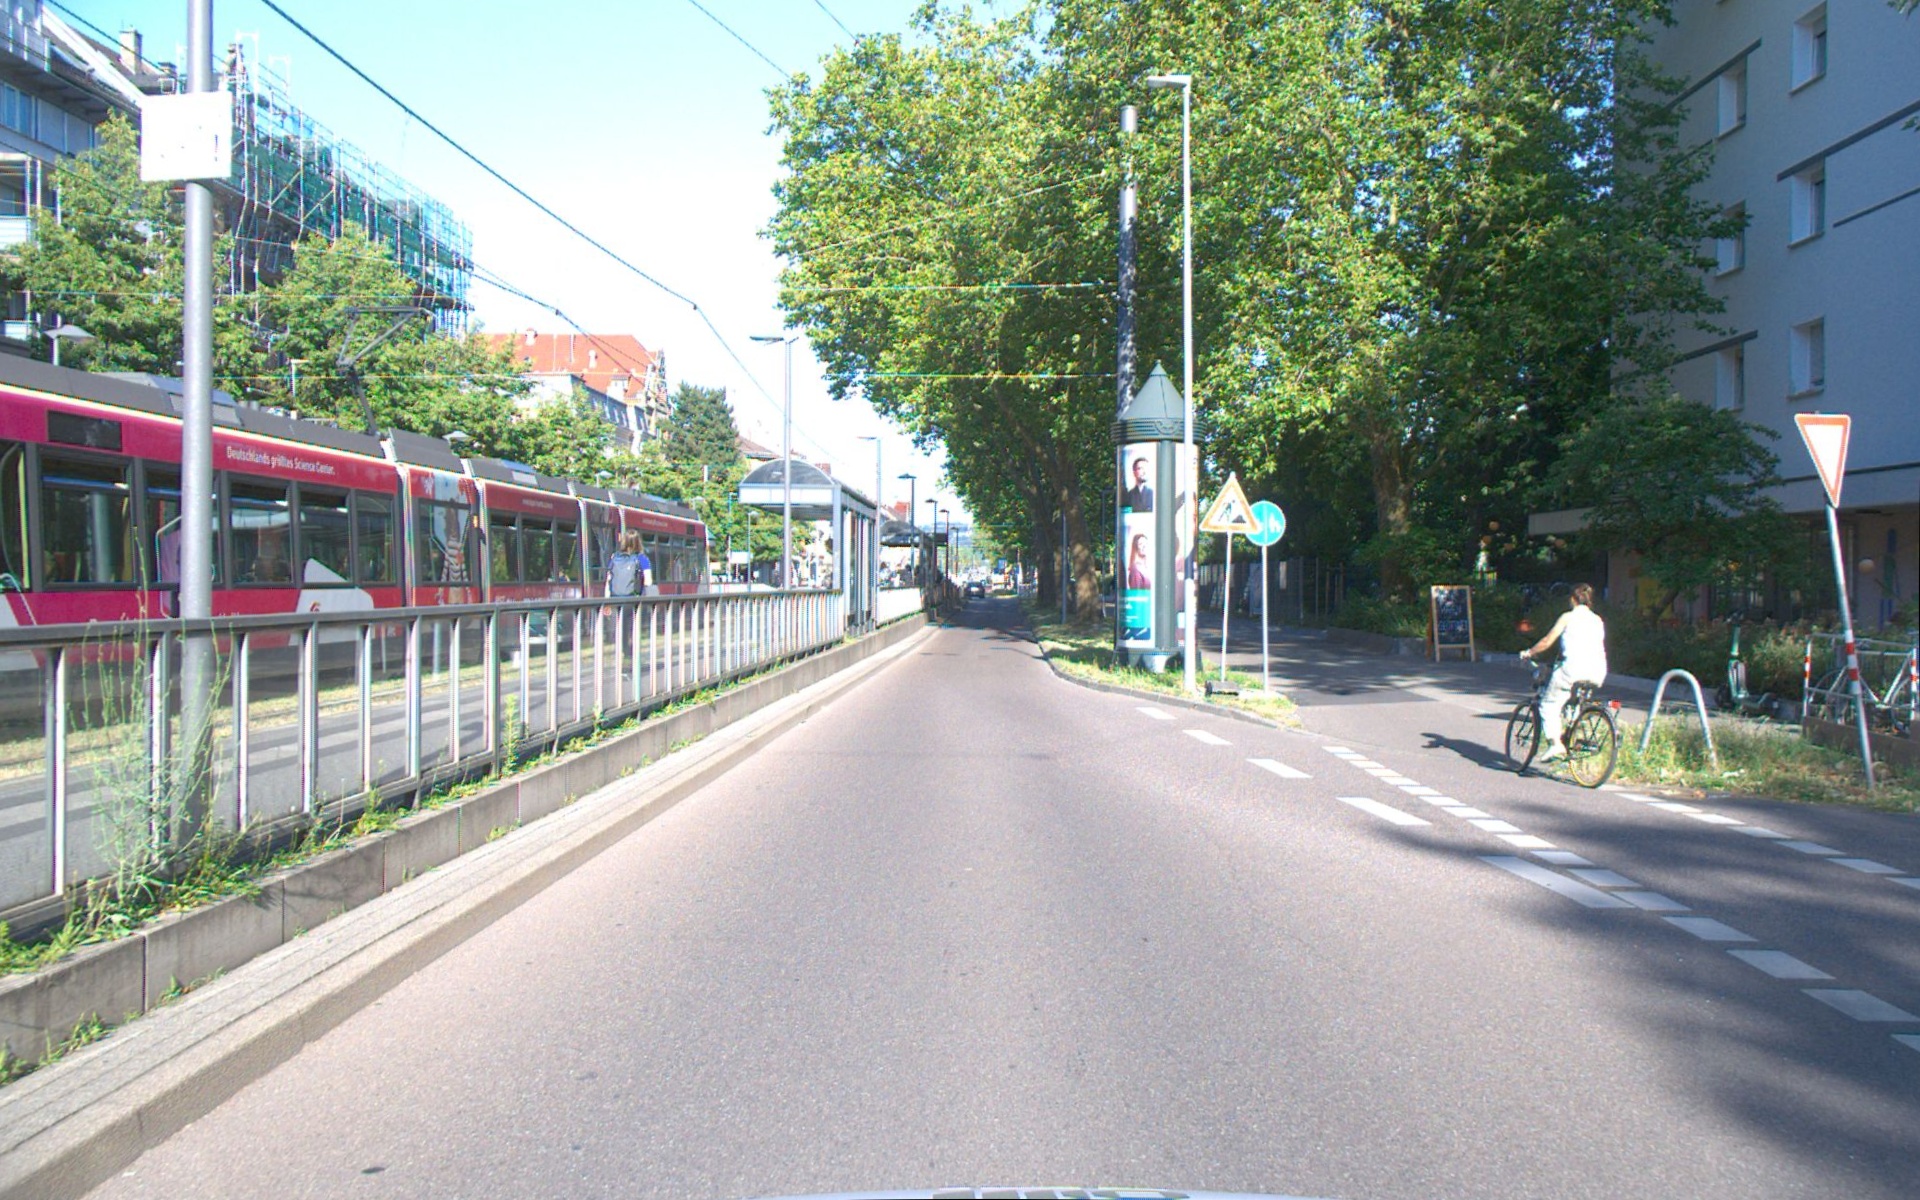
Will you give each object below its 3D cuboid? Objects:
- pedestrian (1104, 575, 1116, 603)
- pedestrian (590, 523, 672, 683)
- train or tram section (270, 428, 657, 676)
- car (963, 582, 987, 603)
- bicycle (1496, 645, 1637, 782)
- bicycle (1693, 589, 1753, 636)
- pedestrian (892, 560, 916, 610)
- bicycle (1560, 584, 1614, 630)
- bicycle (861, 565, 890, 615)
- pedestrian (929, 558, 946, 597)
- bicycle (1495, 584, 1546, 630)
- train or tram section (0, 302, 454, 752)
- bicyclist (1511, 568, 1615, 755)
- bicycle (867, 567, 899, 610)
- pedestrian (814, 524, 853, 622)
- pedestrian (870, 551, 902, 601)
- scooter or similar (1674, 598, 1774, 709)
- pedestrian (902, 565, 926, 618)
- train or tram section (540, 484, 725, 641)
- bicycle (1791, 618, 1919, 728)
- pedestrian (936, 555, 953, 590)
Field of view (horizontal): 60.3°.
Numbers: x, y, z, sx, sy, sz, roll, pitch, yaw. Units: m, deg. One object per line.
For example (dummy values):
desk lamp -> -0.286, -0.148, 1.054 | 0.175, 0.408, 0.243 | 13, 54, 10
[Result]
pedestrian -> 8.998, -0.646, 99.148 | 0.614, 1.685, 0.740 | -1, 0, 1
pedestrian -> -3.503, 0.025, 17.666 | 0.616, 1.637, 0.982 | 2, 0, 0
train or tram section -> -8.867, -0.814, 32.356 | 2.810, 3.750, 14.564 | 0, 1, 2
car -> 1.349, -0.641, 143.819 | 1.952, 1.713, 4.001 | 2, 1, 1
bicycle -> 5.231, 0.952, 14.370 | 0.590, 1.044, 1.767 | 0, 1, 0
bicycle -> 20.684, 0.325, 44.888 | 0.773, 1.198, 1.821 | 2, 1, 1
pedestrian -> -1.801, -0.481, 53.489 | 0.664, 1.589, 0.851 | 2, 0, 1
bicycle -> 17.057, 0.178, 45.028 | 0.773, 1.198, 1.821 | 2, 1, 1
bicycle -> -2.050, -0.249, 40.226 | 0.502, 1.153, 2.104 | 2, 1, 1
pedestrian -> -0.998, -1.010, 74.202 | 0.665, 1.719, 0.895 | 2, 0, 1
bicycle -> 15.316, 0.174, 45.246 | 0.773, 1.198, 1.821 | 2, 1, 1
train or tram section -> -9.263, -0.658, 17.806 | 2.810, 3.739, 14.564 | 0, 1, 2
bicyclist -> 5.235, 0.512, 14.393 | 0.590, 1.578, 0.860 | 0, 0, 0
bicycle -> -2.140, -0.332, 46.204 | 0.722, 1.153, 2.031 | 2, 1, 1
pedestrian -> -2.554, -0.546, 33.432 | 0.655, 1.935, 0.824 | 2, 0, 0
pedestrian -> -2.666, -0.874, 59.462 | 0.899, 1.752, 0.625 | 2, 0, -33
scooter or similar -> 9.167, 0.621, 19.888 | 0.549, 1.279, 1.289 | -1, 0, -2
pedestrian -> -1.583, -0.303, 56.867 | 0.749, 1.789, 0.695 | 2, 0, 1
train or tram section -> -8.538, -0.959, 44.489 | 2.810, 3.750, 9.686 | 0, 1, 1
bicycle -> 9.735, 0.754, 17.213 | 0.597, 1.044, 1.933 | -1, 2, -30
pedestrian -> -0.774, -1.358, 81.353 | 0.741, 1.719, 0.678 | 2, 0, 1
